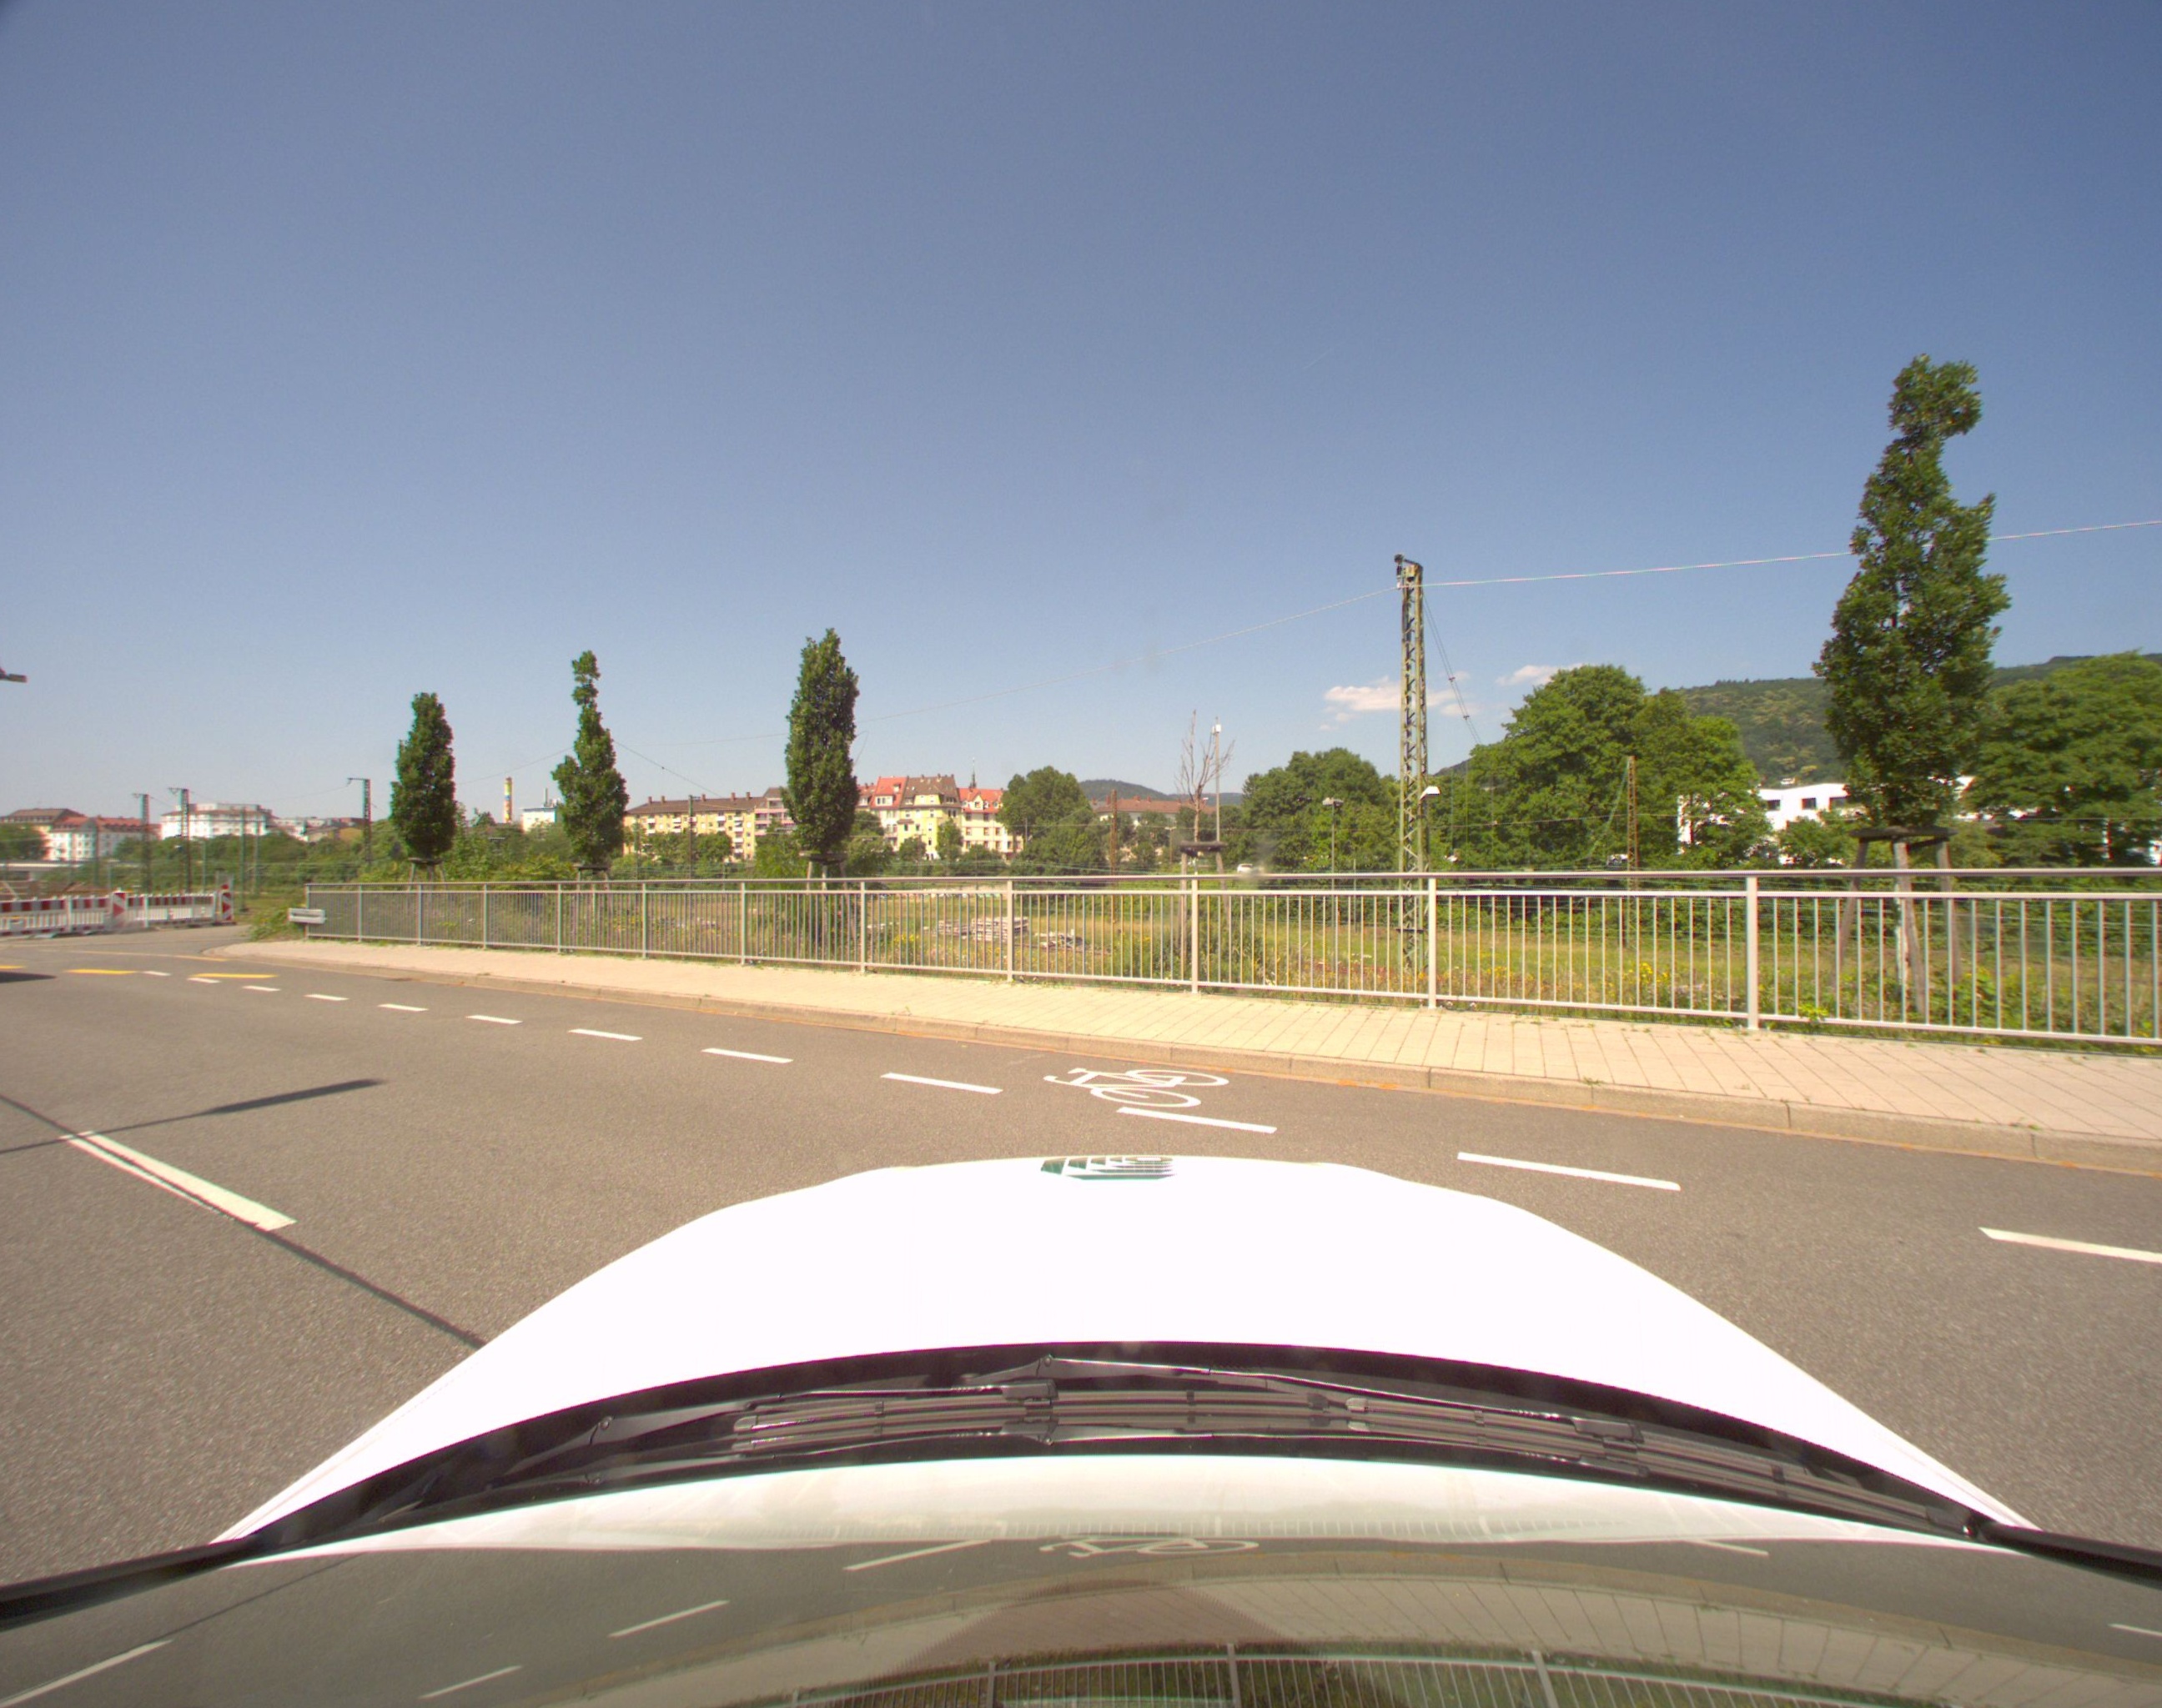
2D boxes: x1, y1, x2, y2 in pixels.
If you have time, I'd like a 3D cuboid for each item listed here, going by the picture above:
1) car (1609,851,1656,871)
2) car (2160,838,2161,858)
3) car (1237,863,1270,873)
[{"bbox_3d":[60.400,0.798,89.236,1.765,2.014,3.885,5,-7,-44],"label":"car"},{"bbox_3d":[82.985,-0.309,58.922,5.447,2.103,2.148,-3,-7,39],"label":"car"},{"bbox_3d":[22.974,1.857,108.614,1.873,1.367,4.271,-1,-1,-32],"label":"car"}]
